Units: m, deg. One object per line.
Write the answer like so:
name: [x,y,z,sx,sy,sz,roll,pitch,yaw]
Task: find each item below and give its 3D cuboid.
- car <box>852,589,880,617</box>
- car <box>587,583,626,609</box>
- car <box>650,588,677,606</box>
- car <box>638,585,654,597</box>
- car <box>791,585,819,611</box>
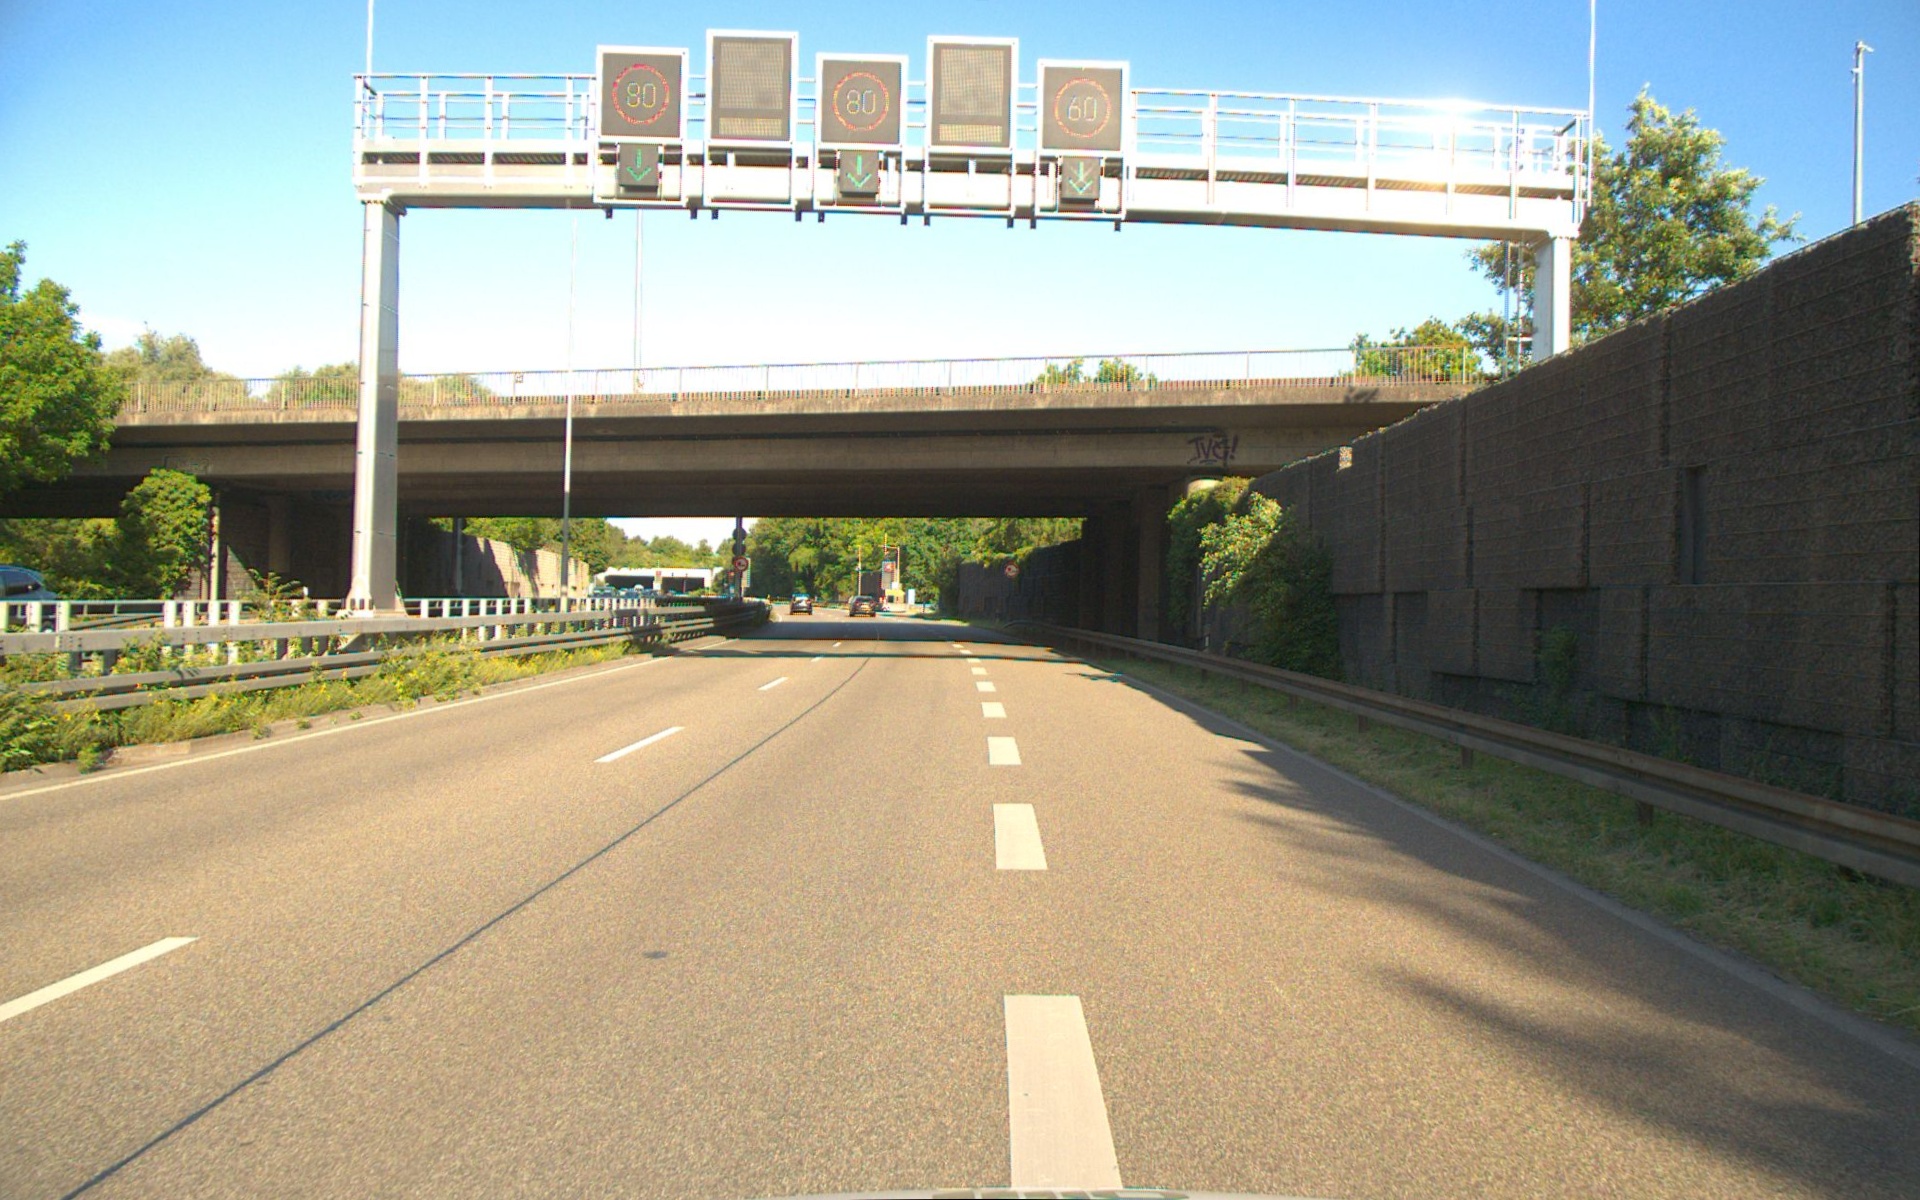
car: [-6.849,0.209,120.446,1.954,1.959,3.997,2,0,-4]
car: [-24.856,-0.304,116.454,1.954,1.735,4.558,0,1,-3]
car: [-27.526,-0.273,153.618,1.954,1.623,4.424,1,0,-3]
car: [-43.271,-1.264,228.077,1.862,1.601,4.800,3,0,-7]
car: [-12.218,-0.155,130.597,1.954,1.959,3.997,2,0,-4]
